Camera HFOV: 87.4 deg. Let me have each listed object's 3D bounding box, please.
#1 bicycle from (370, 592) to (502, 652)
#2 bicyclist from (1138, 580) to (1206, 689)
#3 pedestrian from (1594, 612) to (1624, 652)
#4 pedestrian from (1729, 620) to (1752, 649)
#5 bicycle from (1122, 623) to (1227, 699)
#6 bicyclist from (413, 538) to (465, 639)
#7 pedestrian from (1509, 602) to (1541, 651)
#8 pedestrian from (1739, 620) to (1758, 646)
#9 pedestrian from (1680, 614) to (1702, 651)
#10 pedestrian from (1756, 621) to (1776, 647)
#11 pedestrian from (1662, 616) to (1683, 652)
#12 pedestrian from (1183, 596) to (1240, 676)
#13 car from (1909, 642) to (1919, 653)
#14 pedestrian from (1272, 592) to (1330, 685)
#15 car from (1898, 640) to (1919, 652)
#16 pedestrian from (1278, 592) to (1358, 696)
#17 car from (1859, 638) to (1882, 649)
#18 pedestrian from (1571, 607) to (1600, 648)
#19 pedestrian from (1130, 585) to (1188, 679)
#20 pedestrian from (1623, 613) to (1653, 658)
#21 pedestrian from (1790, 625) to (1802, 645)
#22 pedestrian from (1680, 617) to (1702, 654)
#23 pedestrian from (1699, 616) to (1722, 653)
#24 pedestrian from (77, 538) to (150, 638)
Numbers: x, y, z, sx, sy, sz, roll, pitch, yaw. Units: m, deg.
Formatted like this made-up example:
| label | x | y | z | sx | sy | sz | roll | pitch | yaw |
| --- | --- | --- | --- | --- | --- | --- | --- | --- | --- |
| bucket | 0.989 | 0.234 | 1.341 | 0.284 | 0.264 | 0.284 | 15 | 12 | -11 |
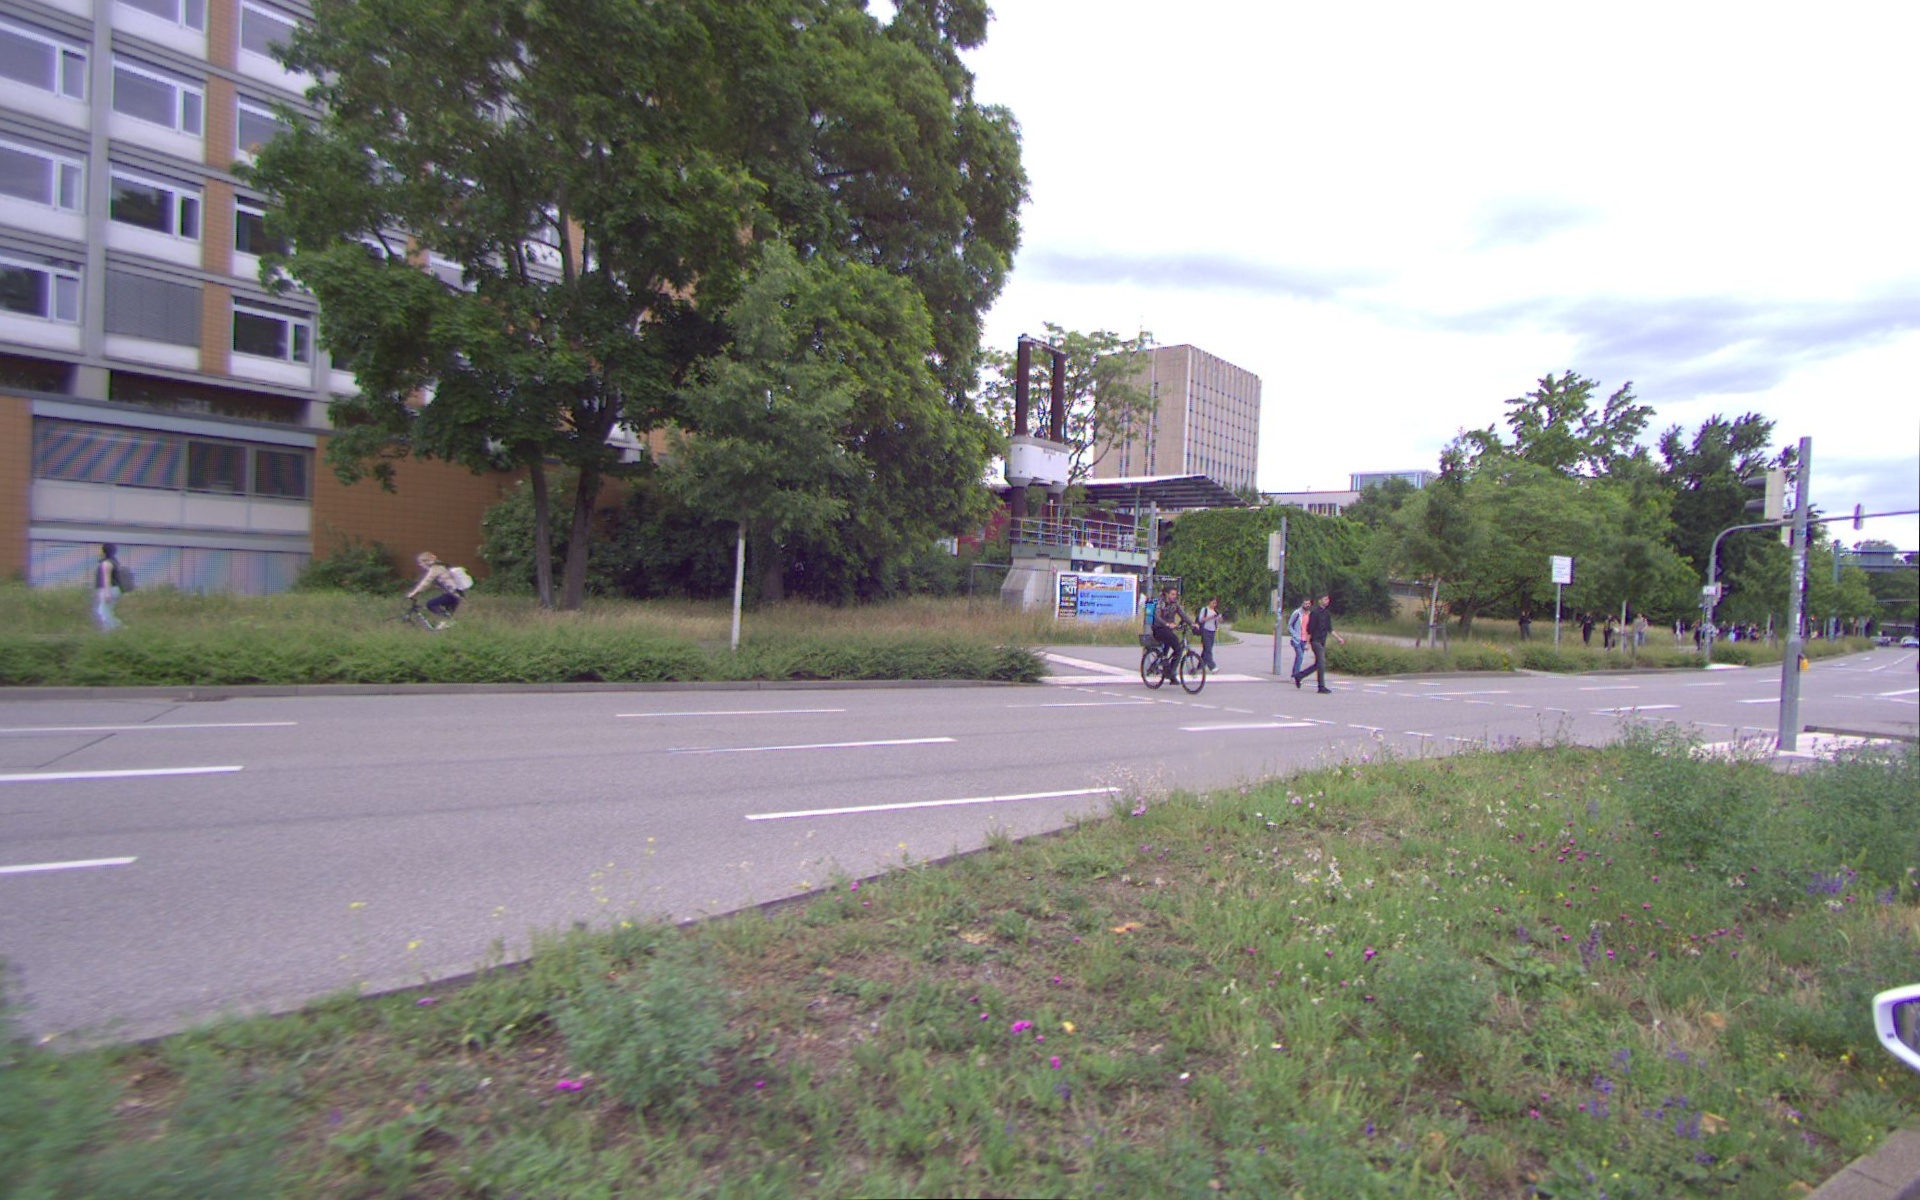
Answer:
| label | x | y | z | sx | sy | sz | roll | pitch | yaw |
| --- | --- | --- | --- | --- | --- | --- | --- | --- | --- |
| bicycle | -8.580 | 0.361 | 16.521 | 1.859 | 0.894 | 0.712 | 2 | 1 | -28 |
| bicyclist | 3.743 | 0.599 | 17.765 | 0.782 | 1.869 | 0.828 | 2 | 1 | -25 |
| pedestrian | 29.005 | 1.425 | 44.874 | 1.037 | 1.735 | 0.750 | 2 | 1 | -36 |
| pedestrian | 49.535 | 2.182 | 63.752 | 1.057 | 1.803 | 0.909 | 2 | 1 | -44 |
| bicycle | 3.747 | 1.045 | 17.710 | 0.781 | 1.174 | 1.894 | 2 | 1 | -25 |
| bicyclist | -8.558 | -0.190 | 16.512 | 0.703 | 1.591 | 0.712 | 2 | 1 | -27 |
| pedestrian | 24.016 | 1.142 | 42.688 | 1.037 | 2.040 | 0.750 | 2 | 1 | -36 |
| pedestrian | 56.443 | 2.365 | 71.904 | 1.057 | 1.803 | 0.909 | 2 | 1 | -44 |
| pedestrian | 42.047 | 1.860 | 57.780 | 1.038 | 2.040 | 0.749 | 2 | 1 | -39 |
| pedestrian | 57.111 | 2.410 | 71.202 | 1.057 | 1.803 | 0.909 | 2 | 1 | -44 |
| pedestrian | 38.537 | 1.852 | 54.331 | 0.751 | 1.895 | 0.708 | 2 | 1 | -39 |
| pedestrian | 5.503 | 0.781 | 22.005 | 0.795 | 1.671 | 0.838 | 2 | 1 | -26 |
| car | 156.939 | 7.803 | 164.109 | 1.967 | 1.804 | 3.988 | 3 | 0 | 34 |
| pedestrian | 7.096 | 0.785 | 20.922 | 0.658 | 1.867 | 0.890 | 2 | 1 | -26 |
| car | 127.396 | 6.144 | 134.863 | 1.665 | 1.435 | 3.629 | 3 | 0 | 38 |
| pedestrian | 6.696 | 0.812 | 18.829 | 0.855 | 1.867 | 1.045 | 2 | 1 | -26 |
| car | 136.685 | 6.534 | 150.817 | 1.852 | 1.435 | 3.847 | 3 | 0 | 32 |
| pedestrian | 28.202 | 1.240 | 45.303 | 0.897 | 1.788 | 0.750 | 2 | 1 | -36 |
| pedestrian | 4.061 | 0.649 | 20.530 | 0.756 | 1.867 | 0.754 | 2 | 2 | -26 |
| pedestrian | 31.701 | 1.662 | 46.963 | 1.037 | 2.040 | 0.750 | 2 | 1 | -36 |
| pedestrian | 84.300 | 3.541 | 101.316 | 0.775 | 2.040 | 0.716 | 2 | 1 | -39 |
| pedestrian | 39.125 | 1.902 | 53.765 | 0.751 | 1.895 | 0.708 | 2 | 1 | -39 |
| pedestrian | 42.689 | 1.951 | 57.110 | 1.038 | 2.040 | 0.749 | 2 | 1 | -39 |
| pedestrian | -13.604 | -0.190 | 16.162 | 0.746 | 1.562 | 0.559 | 2 | 1 | -27 |
